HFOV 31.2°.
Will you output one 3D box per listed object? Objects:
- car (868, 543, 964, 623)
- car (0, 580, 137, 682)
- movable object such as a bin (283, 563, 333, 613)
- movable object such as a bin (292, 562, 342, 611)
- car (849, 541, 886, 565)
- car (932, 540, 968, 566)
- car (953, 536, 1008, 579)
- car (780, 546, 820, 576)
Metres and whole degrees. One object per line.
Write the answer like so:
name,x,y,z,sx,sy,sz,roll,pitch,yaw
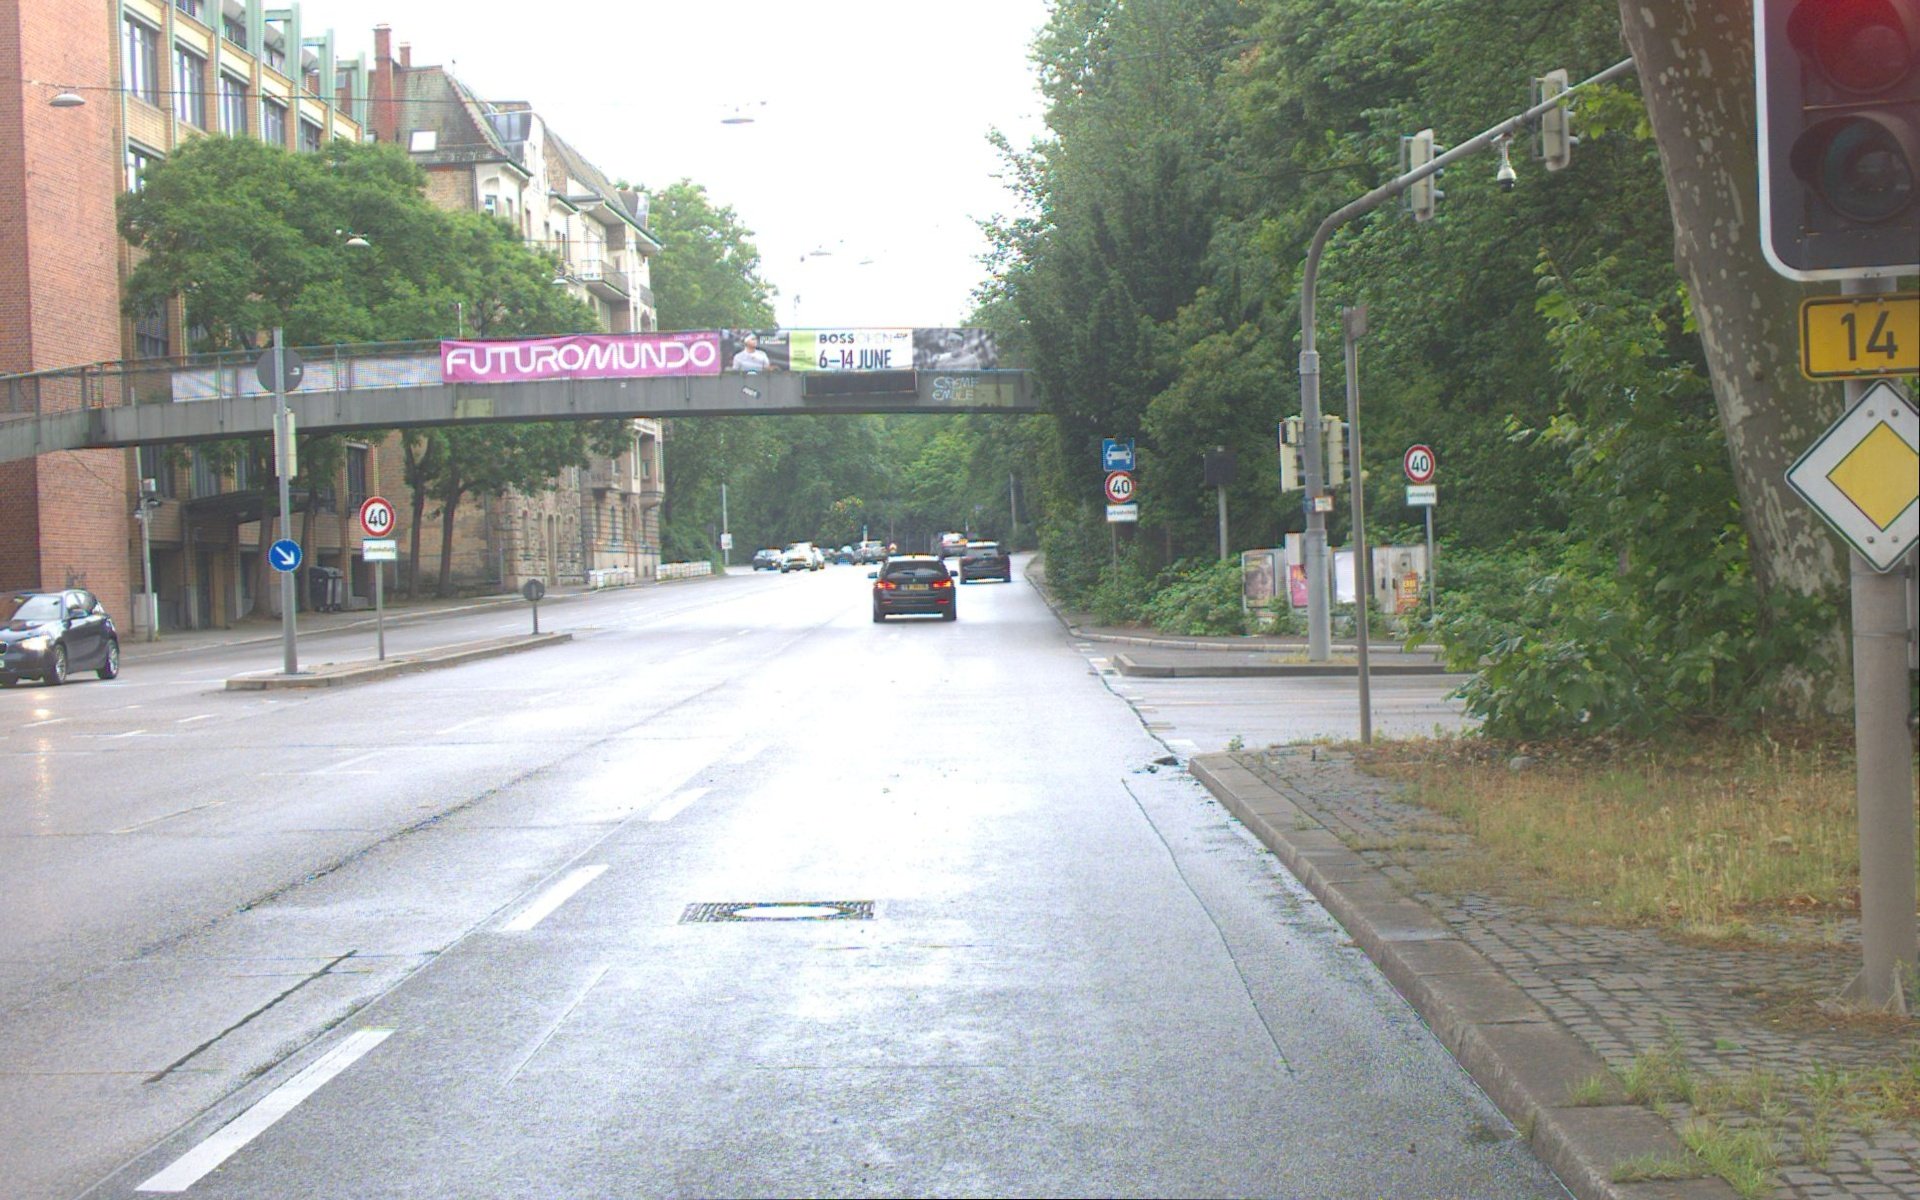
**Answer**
car,-0.943,-0.391,75.598,2.004,1.638,4.376,-2,1,0
car,-13.706,0.477,50.858,1.686,1.414,4.214,-2,-1,5
movable object such as a bin,-20.316,-0.385,107.144,1.282,1.513,1.273,-1,1,1
movable object such as a bin,-20.303,-0.427,108.550,1.299,1.513,1.214,-1,1,1
car,-6.480,-3.307,241.144,1.889,1.604,4.457,-1,1,-11
car,-0.685,-3.092,226.956,1.889,1.604,4.457,-1,1,-6
car,0.715,-1.503,121.585,1.842,1.448,3.777,1,1,-1
car,-9.111,-2.219,196.066,1.890,1.604,4.456,-1,1,2
